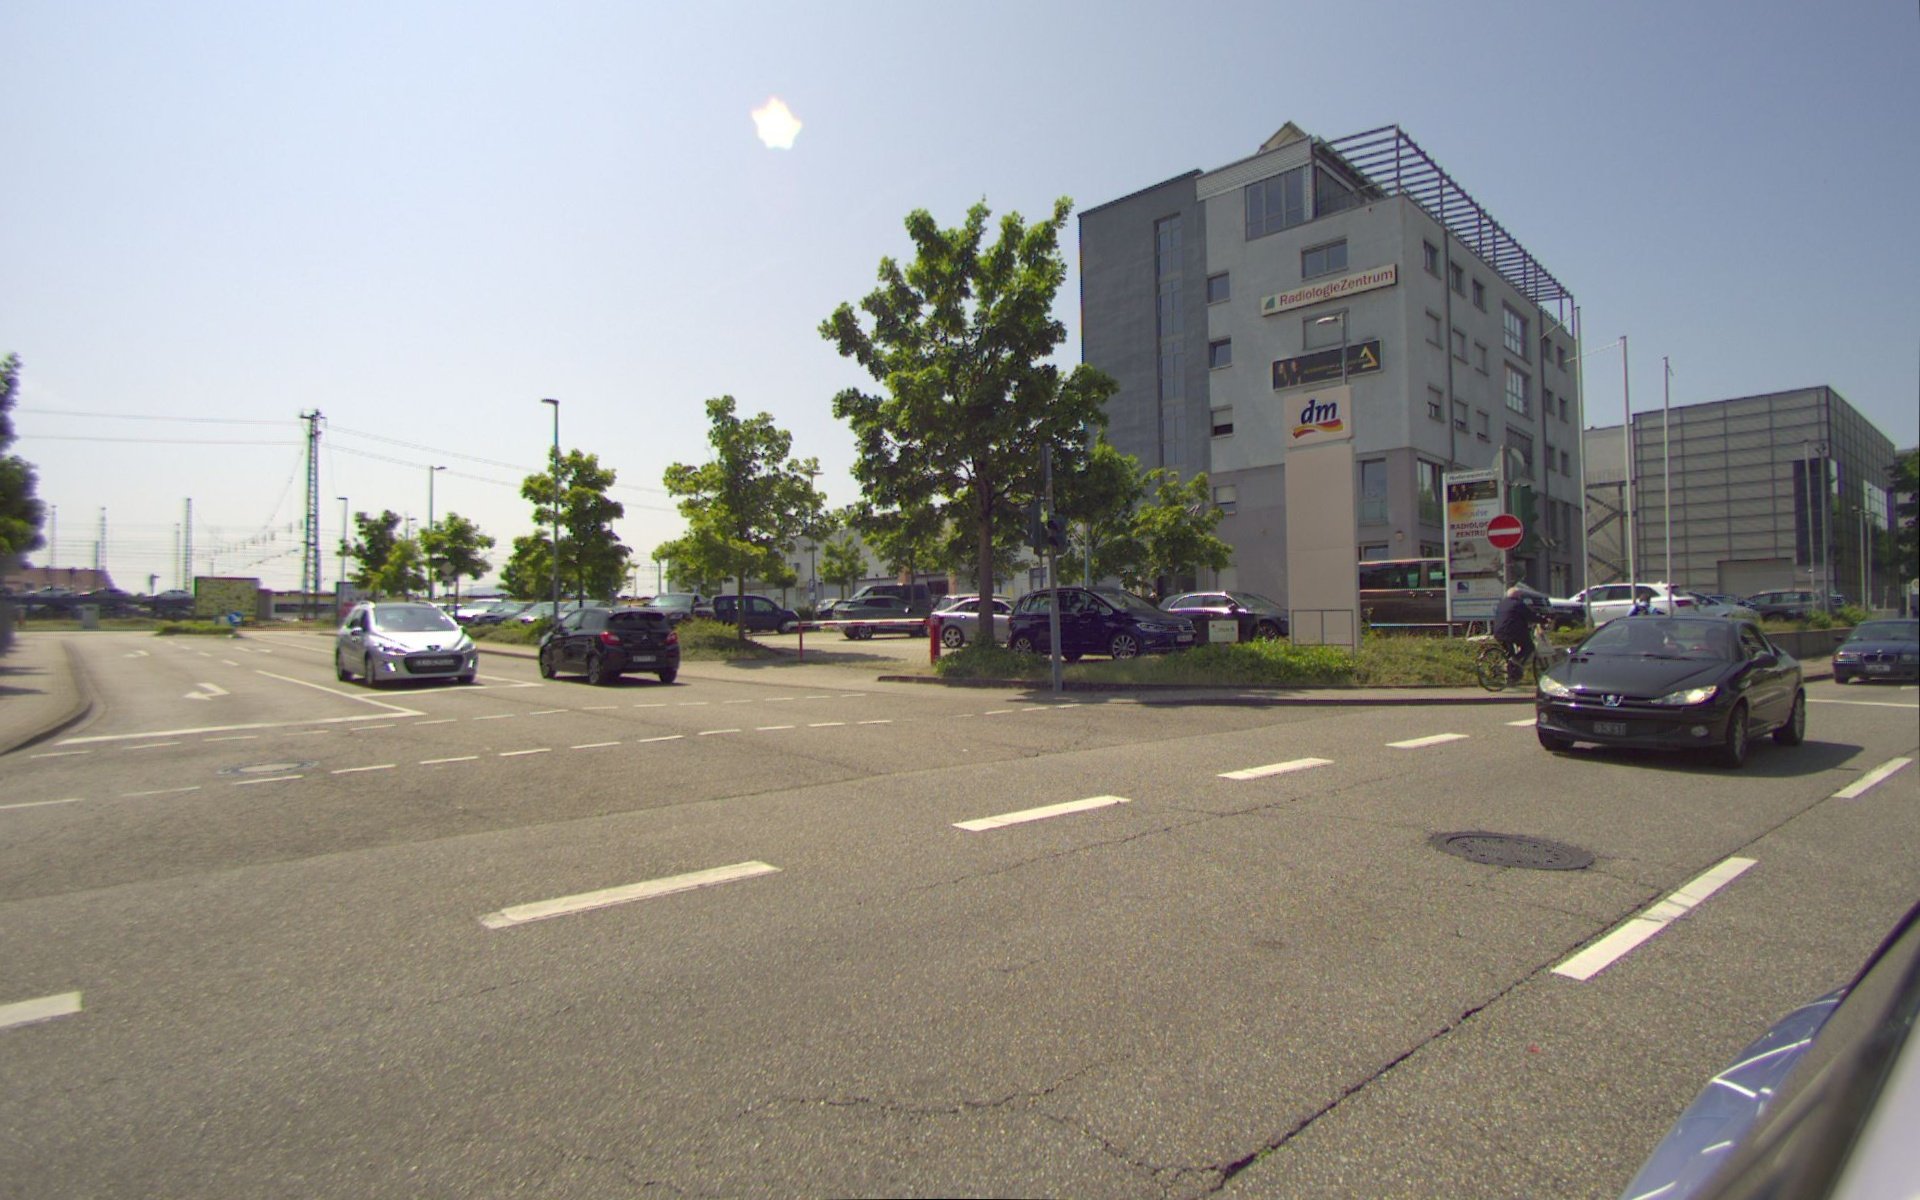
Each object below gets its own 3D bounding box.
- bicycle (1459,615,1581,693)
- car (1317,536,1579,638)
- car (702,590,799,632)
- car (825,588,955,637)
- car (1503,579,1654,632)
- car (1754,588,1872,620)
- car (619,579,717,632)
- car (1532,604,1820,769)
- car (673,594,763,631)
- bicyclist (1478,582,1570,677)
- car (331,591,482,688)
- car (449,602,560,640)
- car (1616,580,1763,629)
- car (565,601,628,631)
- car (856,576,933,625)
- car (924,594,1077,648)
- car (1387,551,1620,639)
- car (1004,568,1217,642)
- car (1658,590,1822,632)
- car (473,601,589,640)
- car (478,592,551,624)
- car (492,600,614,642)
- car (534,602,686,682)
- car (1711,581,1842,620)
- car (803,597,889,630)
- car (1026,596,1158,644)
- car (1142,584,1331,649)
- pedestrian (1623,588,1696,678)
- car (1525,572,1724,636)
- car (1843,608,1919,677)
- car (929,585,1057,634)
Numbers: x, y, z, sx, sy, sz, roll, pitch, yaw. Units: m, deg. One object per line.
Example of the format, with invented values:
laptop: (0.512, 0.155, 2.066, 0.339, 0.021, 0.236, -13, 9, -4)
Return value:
bicycle: (9.059, 0.853, 16.363, 1.869, 1.147, 0.761, -1, -2, -27)
car: (10.726, -0.193, 22.546, 2.144, 1.822, 4.700, 0, -4, -40)
car: (-9.370, 0.533, 45.233, 4.104, 1.812, 1.676, 1, -3, -18)
car: (-2.739, 0.495, 39.507, 4.648, 1.734, 2.003, -1, -2, -22)
car: (21.282, 0.251, 35.081, 1.875, 1.629, 4.528, -2, -2, -9)
car: (41.125, 0.211, 48.884, 1.728, 1.505, 4.133, 0, -1, -41)
car: (-9.642, 0.192, 33.764, 1.963, 1.661, 4.344, 0, 0, 1)
car: (7.380, 0.741, 10.336, 3.438, 1.374, 1.640, 0, 0, -41)
car: (-11.418, 0.577, 47.748, 3.916, 1.661, 1.725, 0, 0, -22)
bicyclist: (9.135, 0.468, 16.398, 1.068, 1.483, 0.777, -1, -2, -27)
car: (-10.680, 0.666, 19.375, 1.775, 1.638, 4.256, 0, 0, -40)
car: (-17.349, 0.782, 38.616, 3.541, 1.371, 1.750, 0, 0, -41)
car: (25.141, 0.174, 35.009, 3.975, 1.505, 1.735, -3, -2, 37)
car: (-19.044, 0.823, 52.993, 2.944, 1.505, 1.363, 0, 0, -27)
car: (-3.109, 0.034, 47.772, 3.358, 2.222, 1.675, 0, -3, -13)
car: (1.140, 0.551, 28.578, 3.964, 1.416, 1.797, 0, 0, 29)
car: (12.918, -0.071, 24.278, 1.964, 1.721, 4.417, -1, -3, -39)
car: (2.985, 0.114, 20.595, 3.988, 1.356, 1.833, -1, -1, 45)
car: (29.886, 0.432, 38.914, 1.770, 1.399, 4.749, 0, -3, -44)
car: (-15.611, 0.710, 36.870, 3.541, 1.371, 1.750, 0, 0, -41)
car: (-20.810, 0.364, 47.294, 2.920, 1.485, 1.429, 0, 0, -35)
car: (-13.983, 0.676, 34.841, 3.541, 1.371, 1.750, 0, 0, -41)
car: (-6.883, 0.765, 19.753, 1.593, 1.419, 3.424, 0, -1, -42)
car: (35.350, 0.044, 43.906, 1.728, 1.505, 4.132, 0, -2, -41)
car: (-5.693, 0.663, 50.357, 3.916, 1.594, 1.768, 0, 0, -21)
car: (4.386, 0.627, 33.673, 3.918, 1.505, 2.003, 0, 0, -26)
car: (6.297, 0.363, 23.294, 3.872, 1.356, 1.728, -1, -1, 45)
pedestrian: (13.295, 0.620, 19.235, 0.987, 1.646, 0.829, -2, -1, -40)
car: (19.330, 0.152, 29.573, 2.062, 1.630, 4.465, -1, -2, -43)
car: (20.321, 0.856, 21.504, 3.885, 1.341, 1.710, 0, -2, -40)
car: (1.130, 0.325, 35.266, 4.104, 1.620, 1.676, -1, -1, -16)
